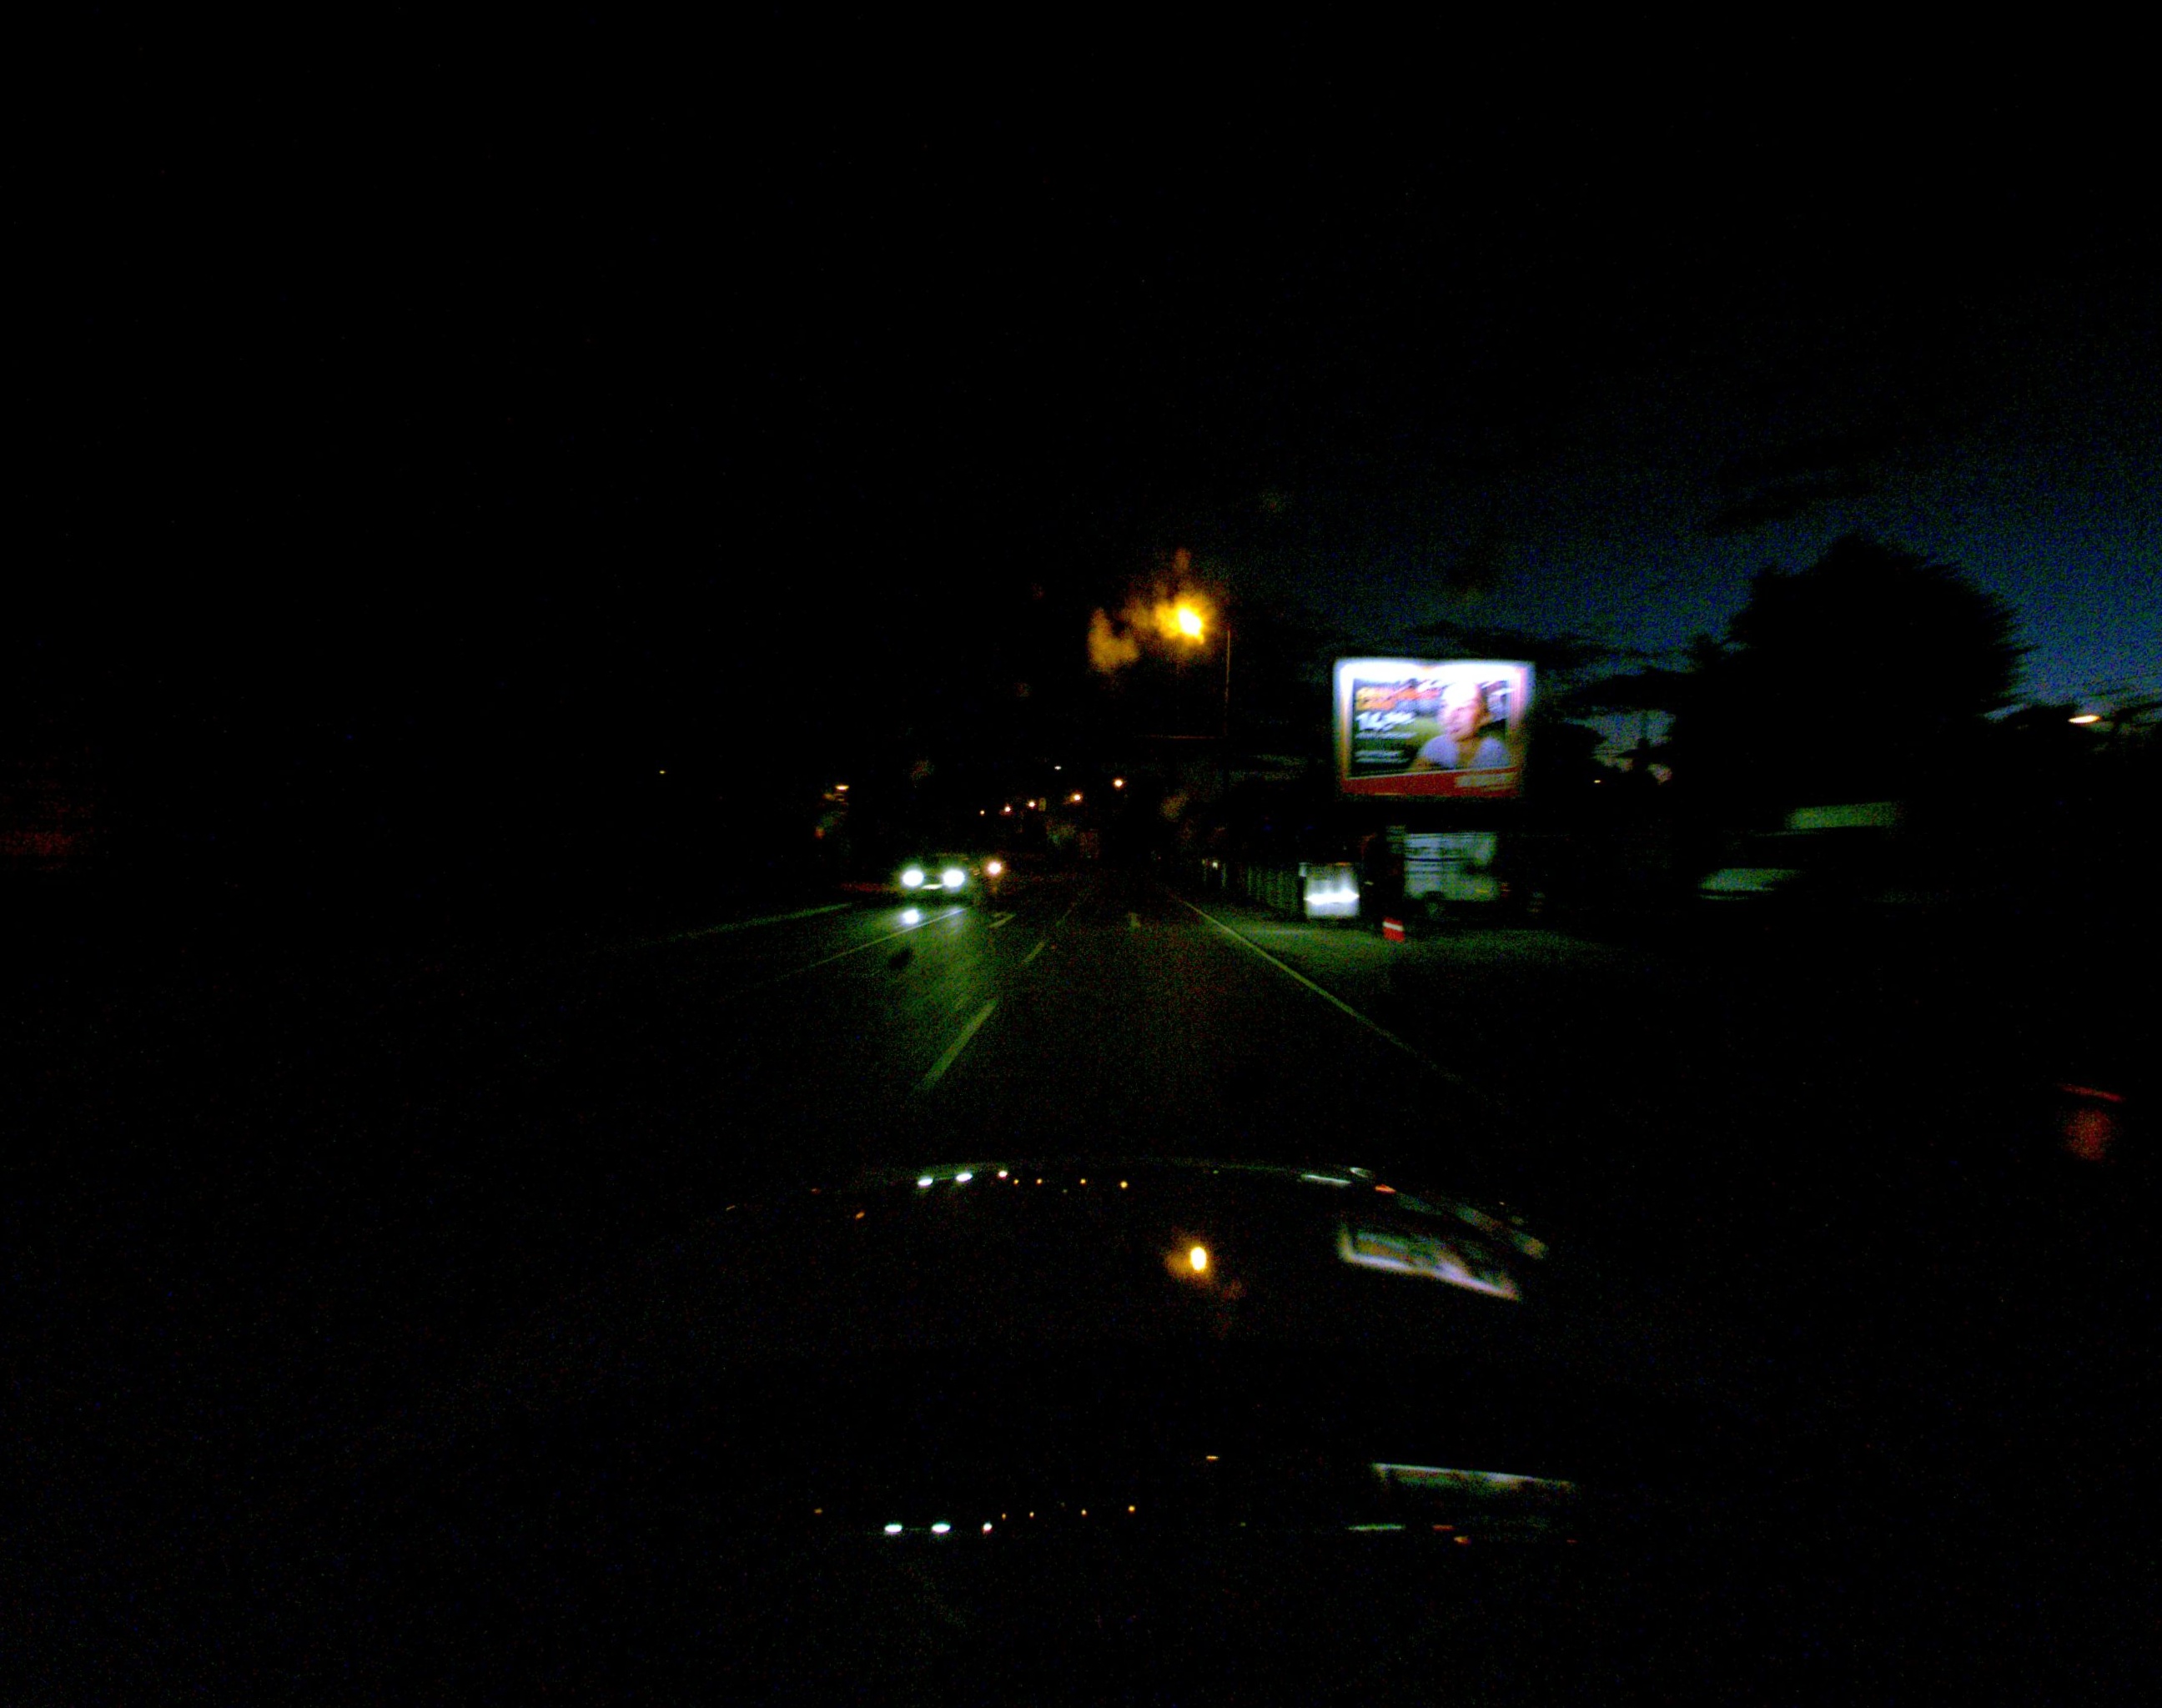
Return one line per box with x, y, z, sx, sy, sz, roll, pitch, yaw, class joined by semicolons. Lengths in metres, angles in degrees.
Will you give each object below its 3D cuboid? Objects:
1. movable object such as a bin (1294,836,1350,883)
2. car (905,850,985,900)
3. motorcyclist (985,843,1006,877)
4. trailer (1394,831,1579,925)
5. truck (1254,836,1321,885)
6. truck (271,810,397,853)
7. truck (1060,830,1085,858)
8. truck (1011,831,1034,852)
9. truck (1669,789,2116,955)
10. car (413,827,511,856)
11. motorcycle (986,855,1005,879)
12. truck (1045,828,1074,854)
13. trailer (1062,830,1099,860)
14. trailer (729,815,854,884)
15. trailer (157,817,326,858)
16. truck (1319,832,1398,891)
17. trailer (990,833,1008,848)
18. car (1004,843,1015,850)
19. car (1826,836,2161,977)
14.668;0.311;49.870;2.220;2.724;3.865;2;0;0;movable object such as a bin
-4.787;0.672;29.297;1.987;1.627;4.753;1;0;1;car
-4.961;0.340;47.279;1.132;1.900;0.832;1;0;-5;motorcyclist
9.324;0.495;18.932;3.712;2.013;1.624;0;1;25;trailer
11.225;0.303;44.818;2.174;2.422;7.323;2;1;3;truck
-44.615;-1.318;48.795;5.036;2.389;2.152;2;0;-16;truck
-1.347;-1.534;121.534;2.830;3.983;6.029;-1;1;-10;truck
-11.948;-2.532;164.989;3.522;3.983;10.304;-1;1;-11;truck
14.129;0.287;14.520;5.512;2.599;2.472;1;0;0;truck
-38.226;-0.761;50.402;4.339;1.589;1.902;2;0;-14;car
-4.968;0.738;47.362;0.995;1.305;2.822;1;0;-5;motorcycle
-3.611;-2.099;132.079;2.832;3.983;10.300;-1;1;-12;truck
-0.218;-1.376;115.075;2.809;3.983;13.928;-1;1;-10;trailer
-11.710;-0.196;33.191;4.333;2.720;2.000;0;1;0;trailer
-37.962;-0.735;36.949;5.219;1.622;1.875;2;1;-7;trailer
14.263;0.338;42.458;2.173;2.748;7.326;2;0;5;truck
-19.310;-3.139;191.991;2.693;3.464;7.764;1;1;-17;trailer
-15.789;-1.631;179.668;1.855;1.519;3.800;-1;1;-14;car
14.421;0.721;11.928;5.051;1.836;1.991;1;0;3;car
